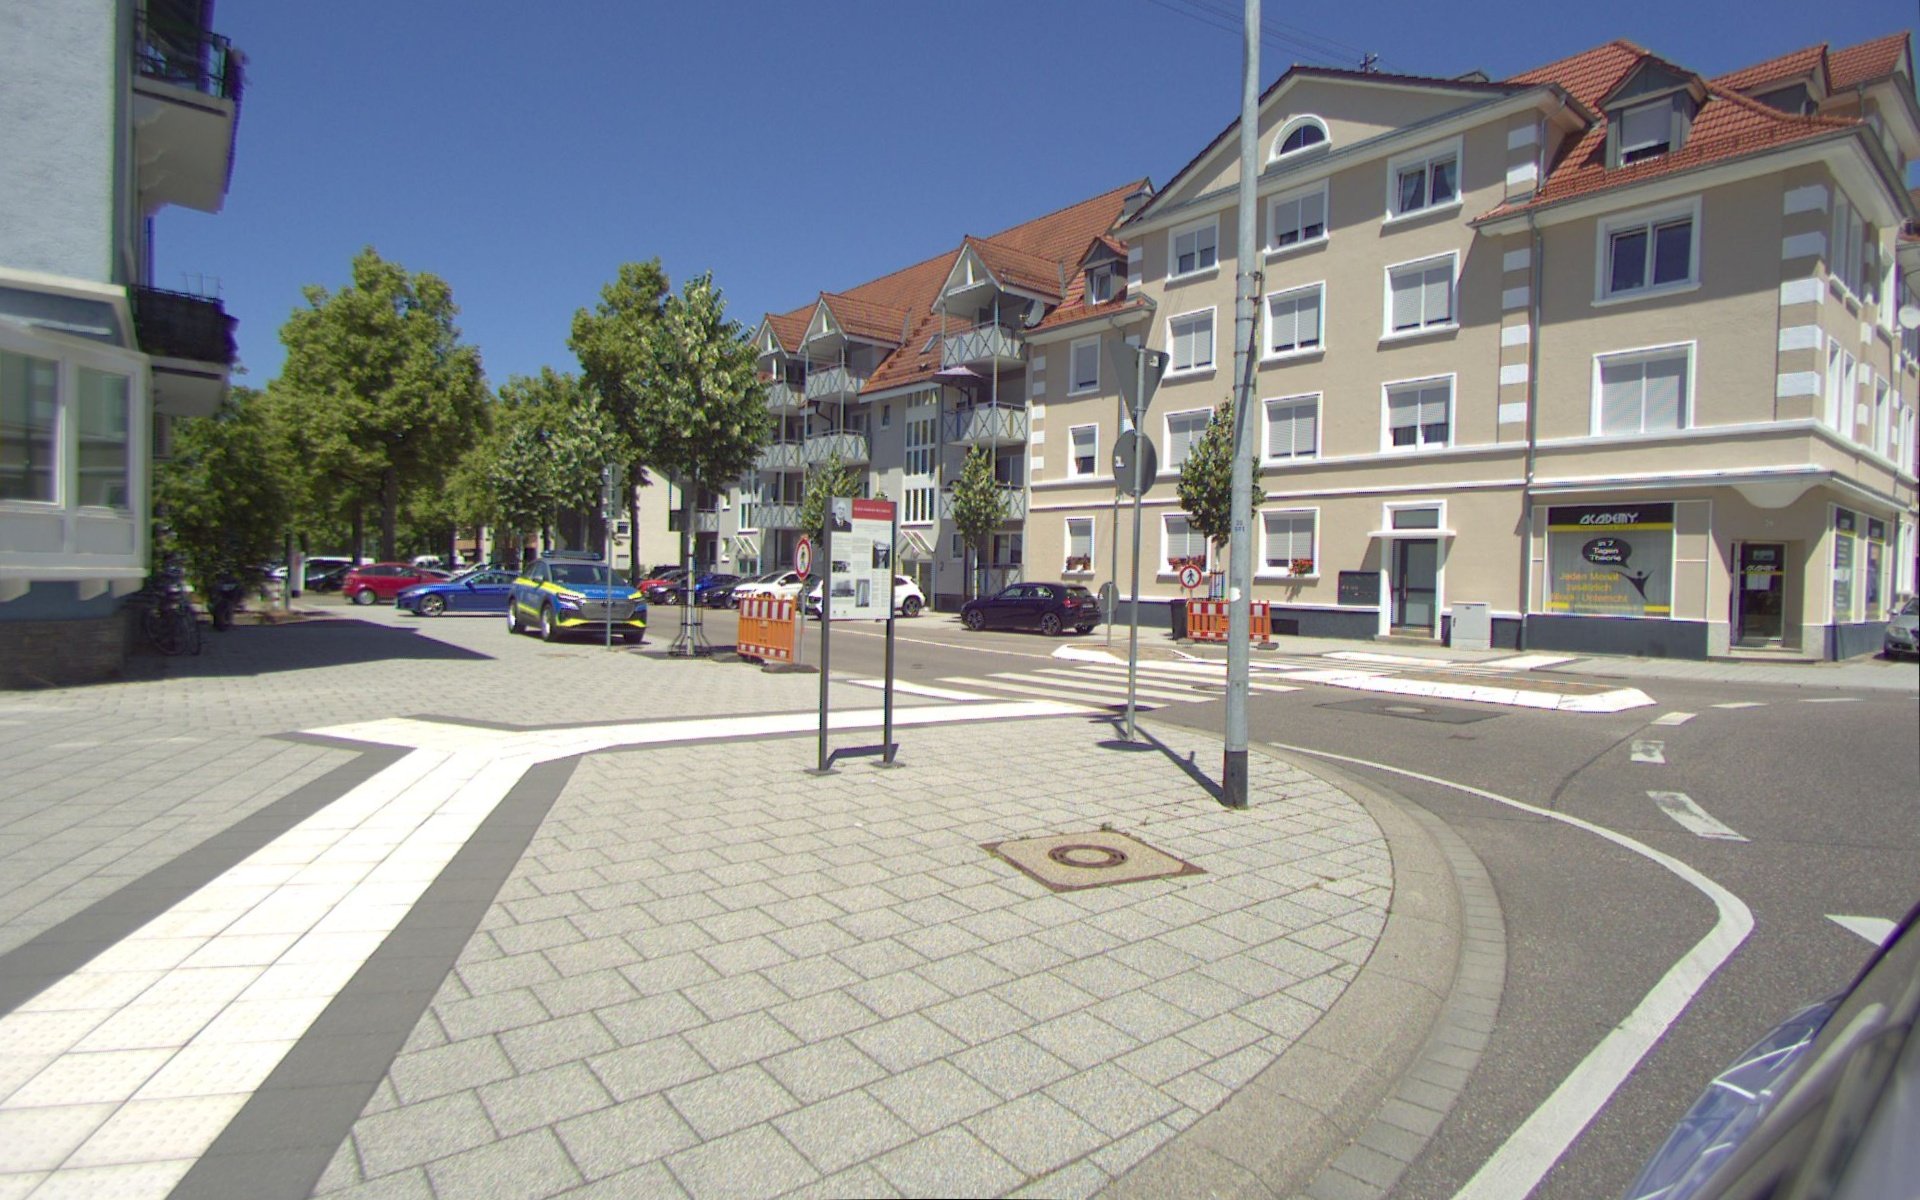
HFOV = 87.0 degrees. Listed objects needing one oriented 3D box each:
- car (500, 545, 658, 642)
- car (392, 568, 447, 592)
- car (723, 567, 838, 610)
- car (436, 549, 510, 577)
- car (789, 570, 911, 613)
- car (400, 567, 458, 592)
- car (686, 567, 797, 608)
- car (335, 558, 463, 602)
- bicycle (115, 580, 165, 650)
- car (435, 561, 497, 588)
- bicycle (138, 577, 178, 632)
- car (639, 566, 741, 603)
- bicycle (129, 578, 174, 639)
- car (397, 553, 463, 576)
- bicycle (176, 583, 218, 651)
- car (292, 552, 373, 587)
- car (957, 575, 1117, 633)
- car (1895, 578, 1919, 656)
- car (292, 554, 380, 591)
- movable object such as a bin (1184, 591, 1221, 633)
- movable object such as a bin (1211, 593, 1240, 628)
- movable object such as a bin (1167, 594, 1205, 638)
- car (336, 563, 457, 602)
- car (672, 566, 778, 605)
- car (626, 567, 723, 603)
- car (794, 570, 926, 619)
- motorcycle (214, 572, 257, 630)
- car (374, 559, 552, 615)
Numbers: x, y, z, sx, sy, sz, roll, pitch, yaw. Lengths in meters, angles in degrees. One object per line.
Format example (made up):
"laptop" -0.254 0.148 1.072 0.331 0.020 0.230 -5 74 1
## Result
"car" -7.847 -0.146 20.600 1.871 1.765 4.248 1 0 -37
"car" -47.524 -1.784 89.036 3.934 2.039 1.995 0 1 -44
"car" -7.253 -0.509 41.097 4.218 1.595 1.905 -2 3 -38
"car" -36.489 -2.753 75.815 4.660 2.039 1.997 0 1 -41
"car" -4.122 -0.369 38.160 4.218 1.453 1.905 -2 3 -38
"car" -44.808 -1.752 85.386 3.934 2.039 1.995 0 1 -44
"car" -9.250 -0.573 42.926 4.218 1.595 1.905 -2 3 -38
"car" -20.850 -0.730 37.670 3.927 1.549 1.999 0 1 -38
"bicycle" -11.637 0.194 14.384 0.432 0.918 1.712 3 0 -36
"car" -38.953 -1.990 79.849 3.934 2.039 1.995 0 1 -44
"bicycle" -14.361 0.068 18.139 0.472 0.918 1.712 3 0 -36
"car" -12.569 -0.749 47.258 4.218 1.595 1.905 -2 3 -38
"bicycle" -13.015 0.123 16.318 0.472 0.918 1.712 3 0 -36
"car" -50.020 -3.344 95.491 5.182 2.039 2.234 0 1 -41
"bicycle" -11.114 0.228 14.756 0.432 0.918 1.712 3 0 -36
"car" -37.386 -1.809 60.339 3.927 1.882 2.000 0 4 -38
"car" 2.121 0.050 28.425 4.148 1.453 1.882 1 3 37
"car" 21.795 0.357 21.887 4.609 1.548 1.768 -2 5 -41
"car" -34.241 -1.458 55.569 3.926 1.884 1.998 0 -1 -37
"movable object such as a bin" 6.327 0.305 26.435 0.631 1.068 0.703 -1 2 -42
"movable object such as a bin" 7.505 0.284 28.637 0.577 0.947 0.647 2 3 41
"movable object such as a bin" 5.720 0.394 25.597 0.659 1.068 0.703 -2 3 -42
"car" -22.186 -0.666 39.908 3.927 1.465 1.999 0 1 -38
"car" -10.448 -0.688 45.118 4.218 1.595 1.905 -2 3 -38
"car" -14.027 -0.767 49.830 4.219 1.661 1.905 -2 3 -39
"car" -3.447 -0.232 35.249 4.218 1.542 1.905 -2 3 -38
"motorcycle" -14.014 0.002 19.593 0.576 1.065 1.907 3 0 -34
"car" -14.598 -0.344 29.840 4.392 1.499 1.902 0 -2 -41
